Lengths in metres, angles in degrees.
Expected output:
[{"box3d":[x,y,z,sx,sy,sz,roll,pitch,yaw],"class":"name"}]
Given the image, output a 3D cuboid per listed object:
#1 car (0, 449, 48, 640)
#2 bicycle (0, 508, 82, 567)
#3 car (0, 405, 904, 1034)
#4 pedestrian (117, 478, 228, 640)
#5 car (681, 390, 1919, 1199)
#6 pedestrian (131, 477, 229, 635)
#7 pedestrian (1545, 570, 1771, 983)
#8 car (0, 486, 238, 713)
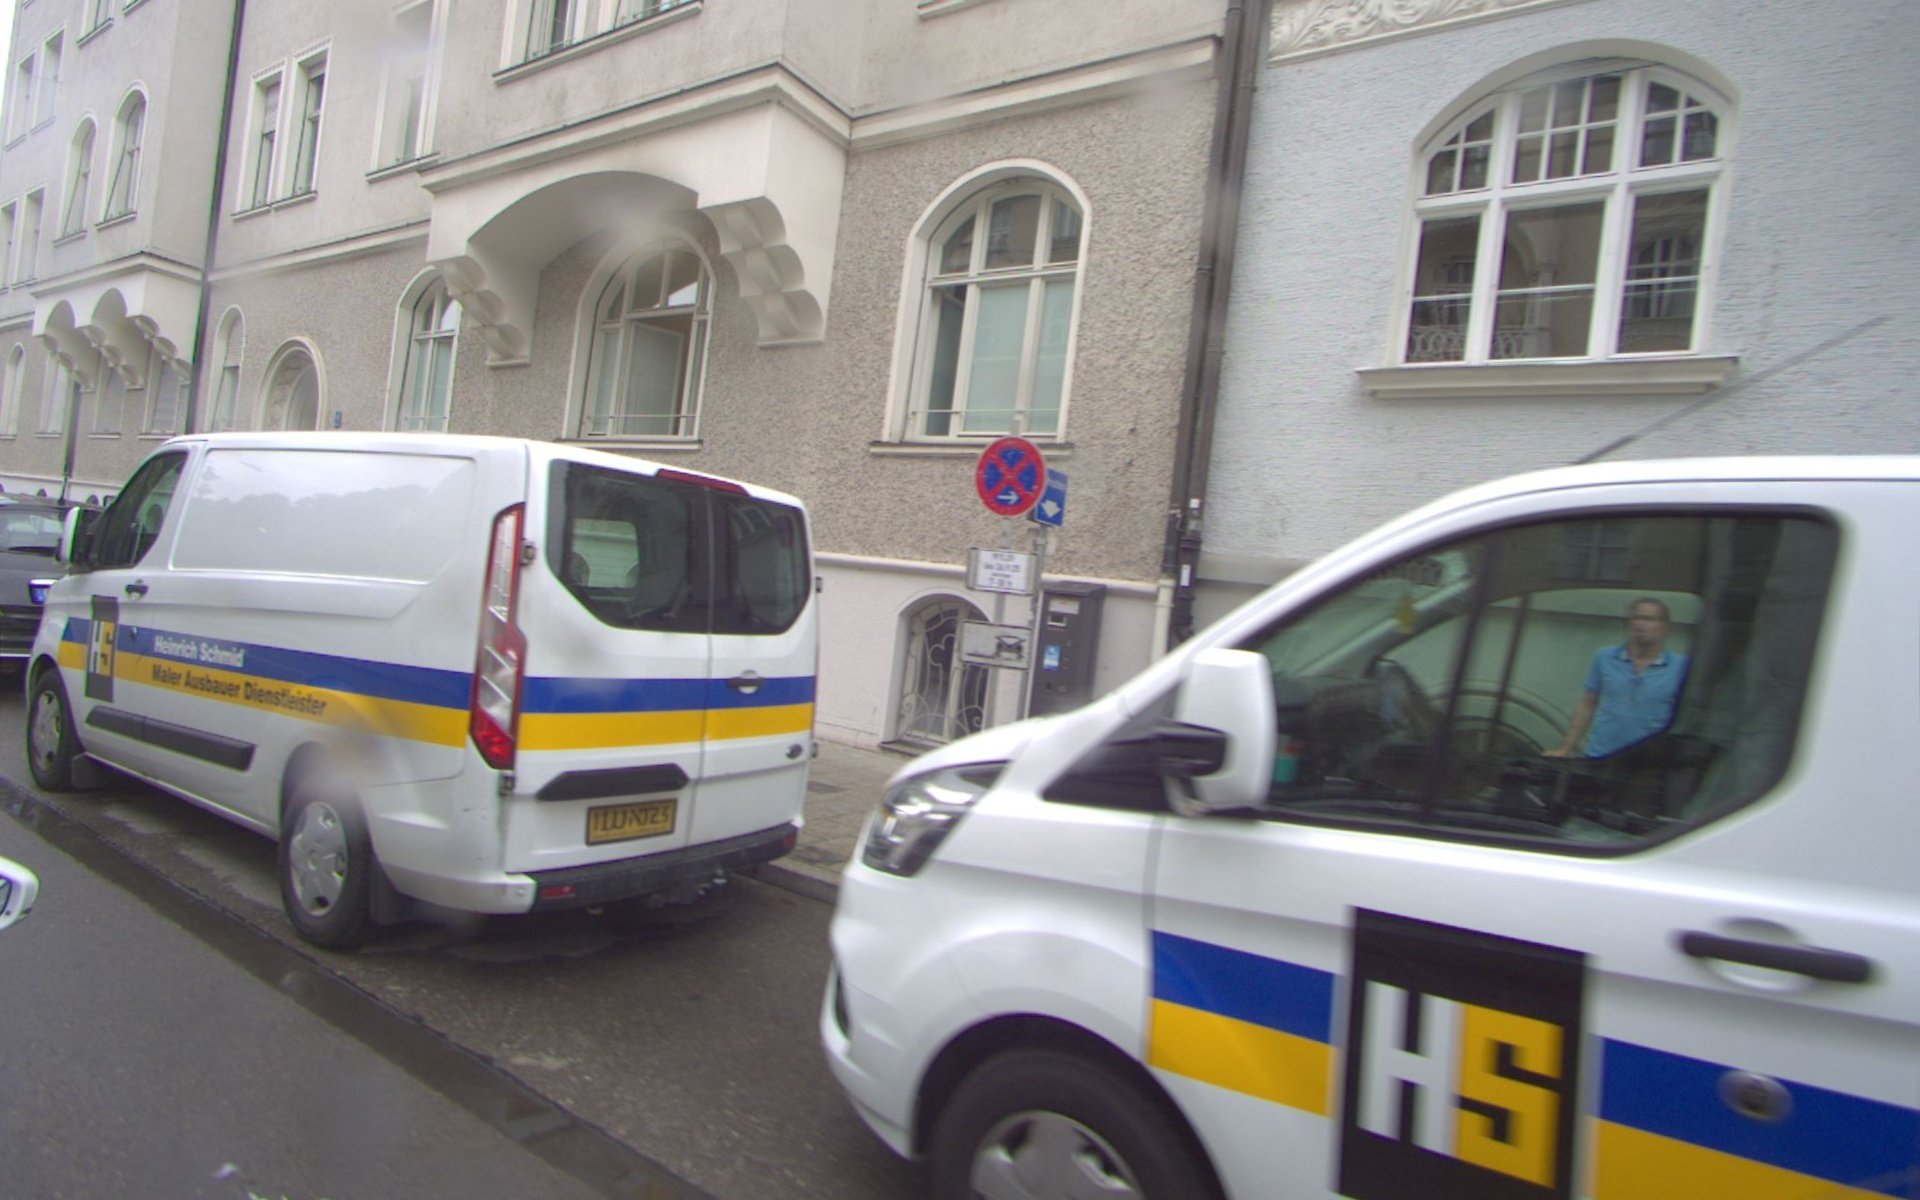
[{"box3d":[-12.043,-0.823,11.107,4.501,1.942,1.993,7,0,37],"class":"car"},{"box3d":[-21.053,-1.448,22.988,2.713,1.128,0.838,7,3,34],"class":"bicycle"},{"box3d":[-2.911,0.216,5.223,4.806,1.942,1.996,7,0,32],"class":"car"},{"box3d":[-9.134,-0.471,11.668,0.746,1.750,0.658,7,0,33],"class":"pedestrian"},{"box3d":[1.961,0.779,2.103,4.796,1.942,1.996,7,0,31],"class":"car"},{"box3d":[-9.024,-0.496,11.646,0.447,1.723,0.638,7,0,33],"class":"pedestrian"},{"box3d":[3.692,0.871,5.343,0.734,1.926,0.851,7,1,36],"class":"pedestrian"},{"box3d":[-7.757,-0.132,8.295,3.823,1.532,1.635,7,-1,35],"class":"car"}]
